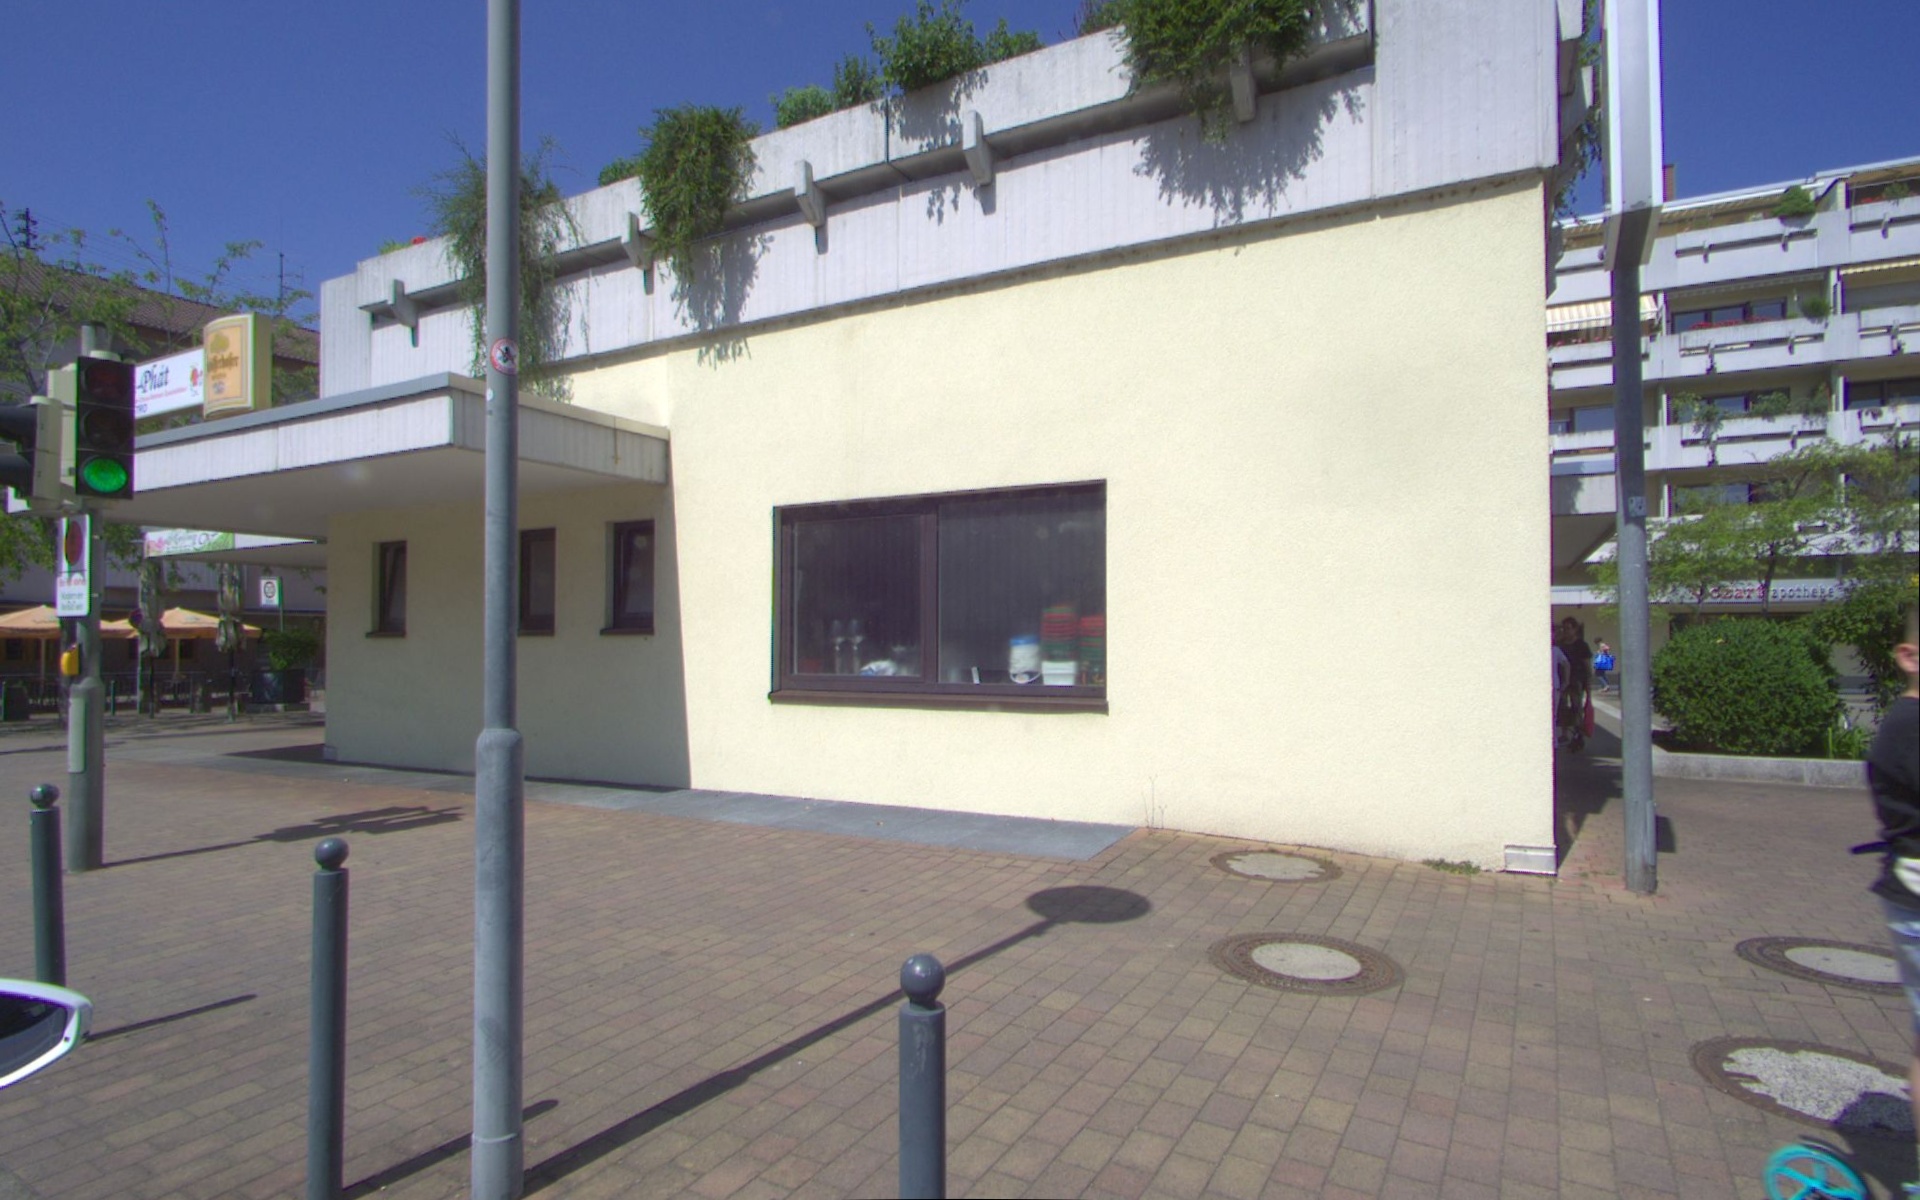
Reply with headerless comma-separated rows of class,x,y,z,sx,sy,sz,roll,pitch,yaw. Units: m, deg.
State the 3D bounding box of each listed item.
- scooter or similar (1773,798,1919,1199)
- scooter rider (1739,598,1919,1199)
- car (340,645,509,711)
scooter or similar,2.272,0.956,2.004,0.947,0.977,0.410,-1,-2,34
scooter rider,2.300,0.667,1.996,1.117,1.341,0.460,-1,-2,33
car,-13.373,1.926,24.995,3.909,1.528,1.767,-2,-3,26
